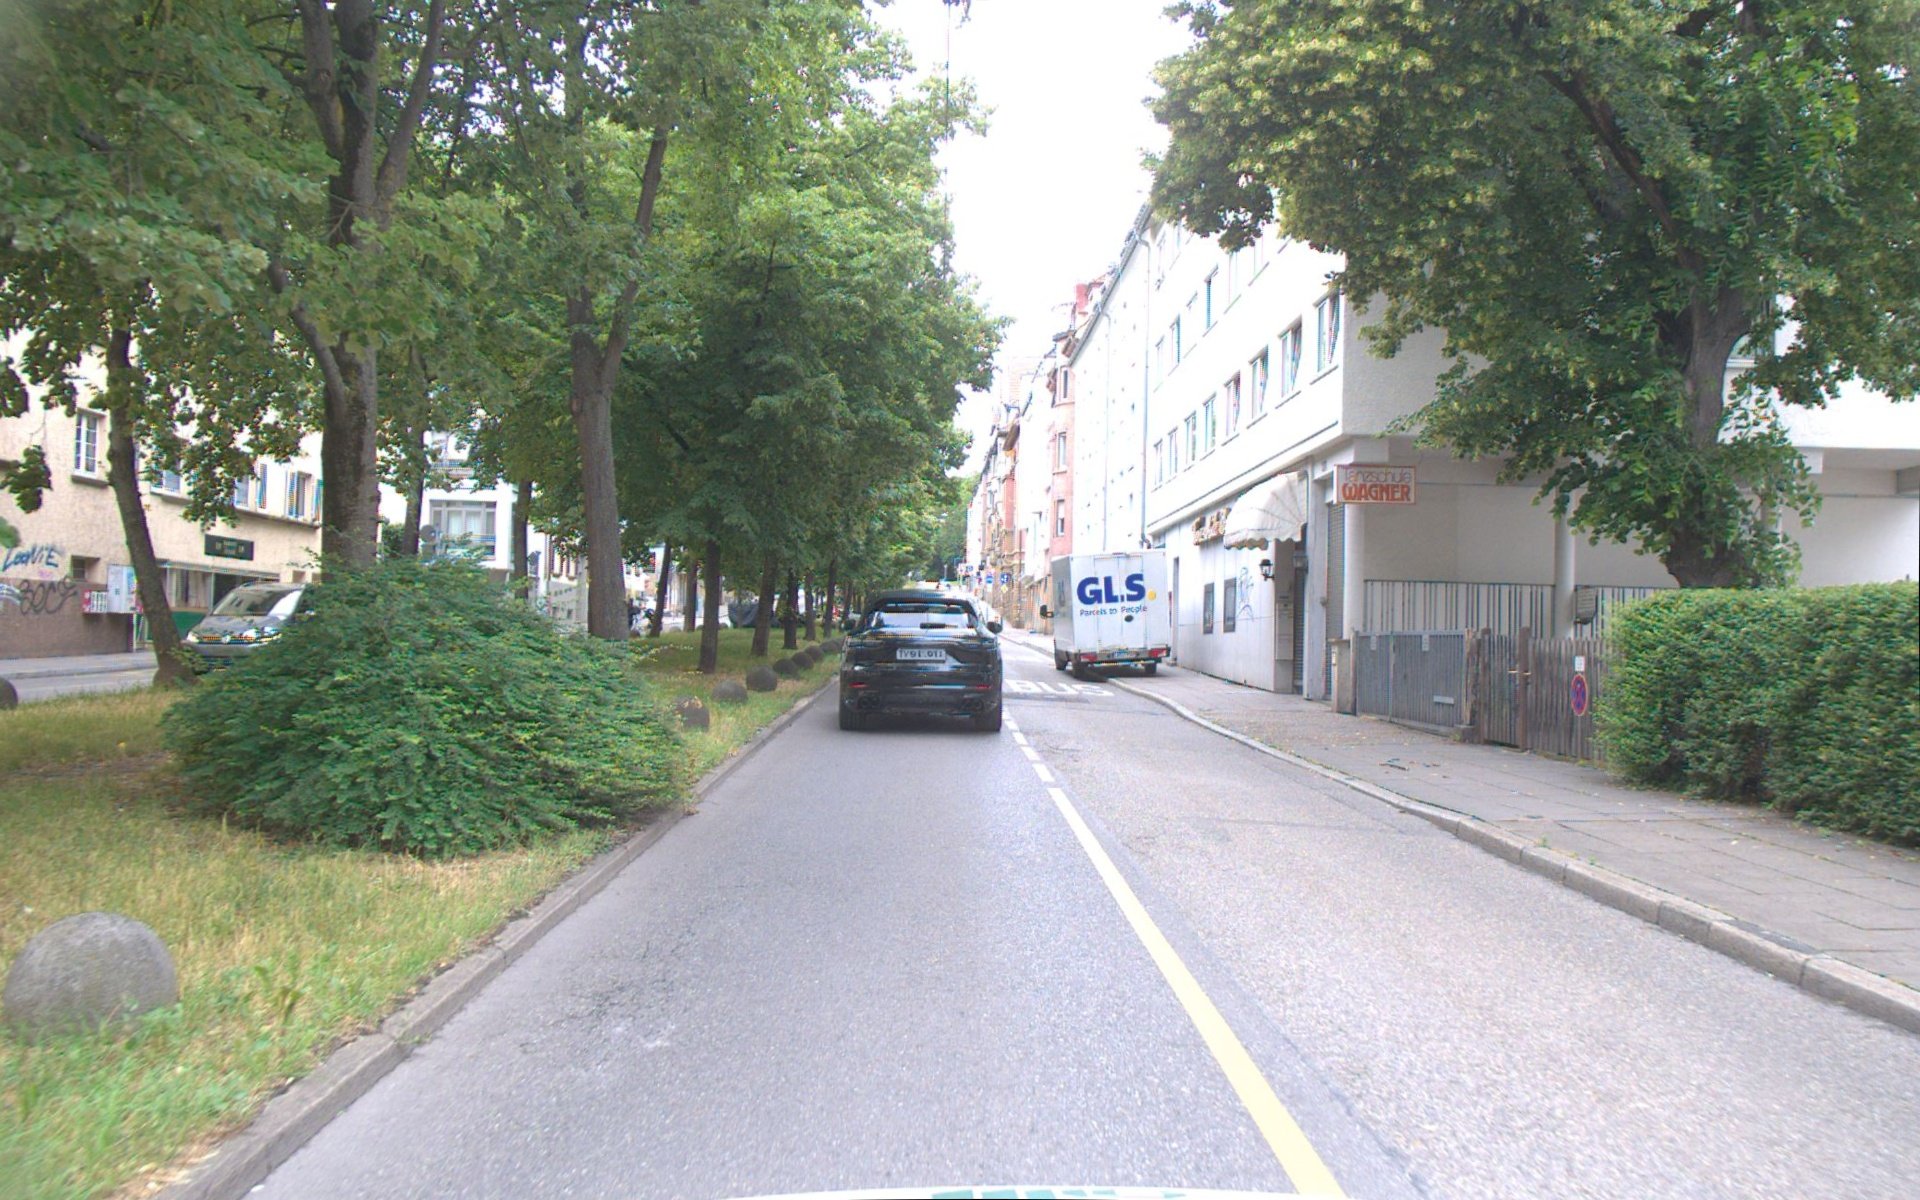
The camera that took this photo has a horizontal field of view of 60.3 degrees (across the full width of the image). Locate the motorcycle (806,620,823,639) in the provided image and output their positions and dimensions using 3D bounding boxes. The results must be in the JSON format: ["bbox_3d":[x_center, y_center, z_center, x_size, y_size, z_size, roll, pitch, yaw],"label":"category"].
[{"bbox_3d":[-9.163,1.864,104.140,0.882,1.126,2.250,0,-2,-1],"label":"motorcycle"}]

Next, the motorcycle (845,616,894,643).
[{"bbox_3d":[-4.353,1.407,79.779,2.308,1.257,1.033,1,0,-3],"label":"motorcycle"}]

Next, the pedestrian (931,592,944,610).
[{"bbox_3d":[-2.580,0.108,191.962,1.280,2.049,1.015,1,-1,-17],"label":"pedestrian"}]

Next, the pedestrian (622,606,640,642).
[{"bbox_3d":[-15.484,1.120,77.840,0.621,1.641,0.764,2,-1,1],"label":"pedestrian"}]

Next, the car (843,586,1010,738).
[{"bbox_3d":[-0.467,0.732,20.792,1.865,1.695,4.133,1,-1,-3],"label":"car"}]

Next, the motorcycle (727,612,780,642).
[{"bbox_3d":[-9.599,1.252,76.983,2.334,1.340,1.045,1,-1,-3],"label":"motorcycle"}]

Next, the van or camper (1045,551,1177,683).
[{"bbox_3d":[3.502,0.420,39.909,2.429,2.852,7.236,1,-1,-1],"label":"van or camper"}]

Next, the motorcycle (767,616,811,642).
[{"bbox_3d":[-8.318,1.399,80.456,1.986,1.257,0.897,1,-1,4],"label":"motorcycle"}]

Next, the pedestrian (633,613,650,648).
[{"bbox_3d":[-15.252,1.462,79.186,0.649,1.644,0.579,1,-1,0],"label":"pedestrian"}]

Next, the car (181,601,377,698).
[{"bbox_3d":[-12.428,0.876,30.517,1.909,1.657,4.363,0,-1,-2],"label":"car"}]

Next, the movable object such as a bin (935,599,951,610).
[{"bbox_3d":[-2.001,0.499,190.654,1.220,1.296,1.834,1,-1,-22],"label":"movable object such as a bin"}]
